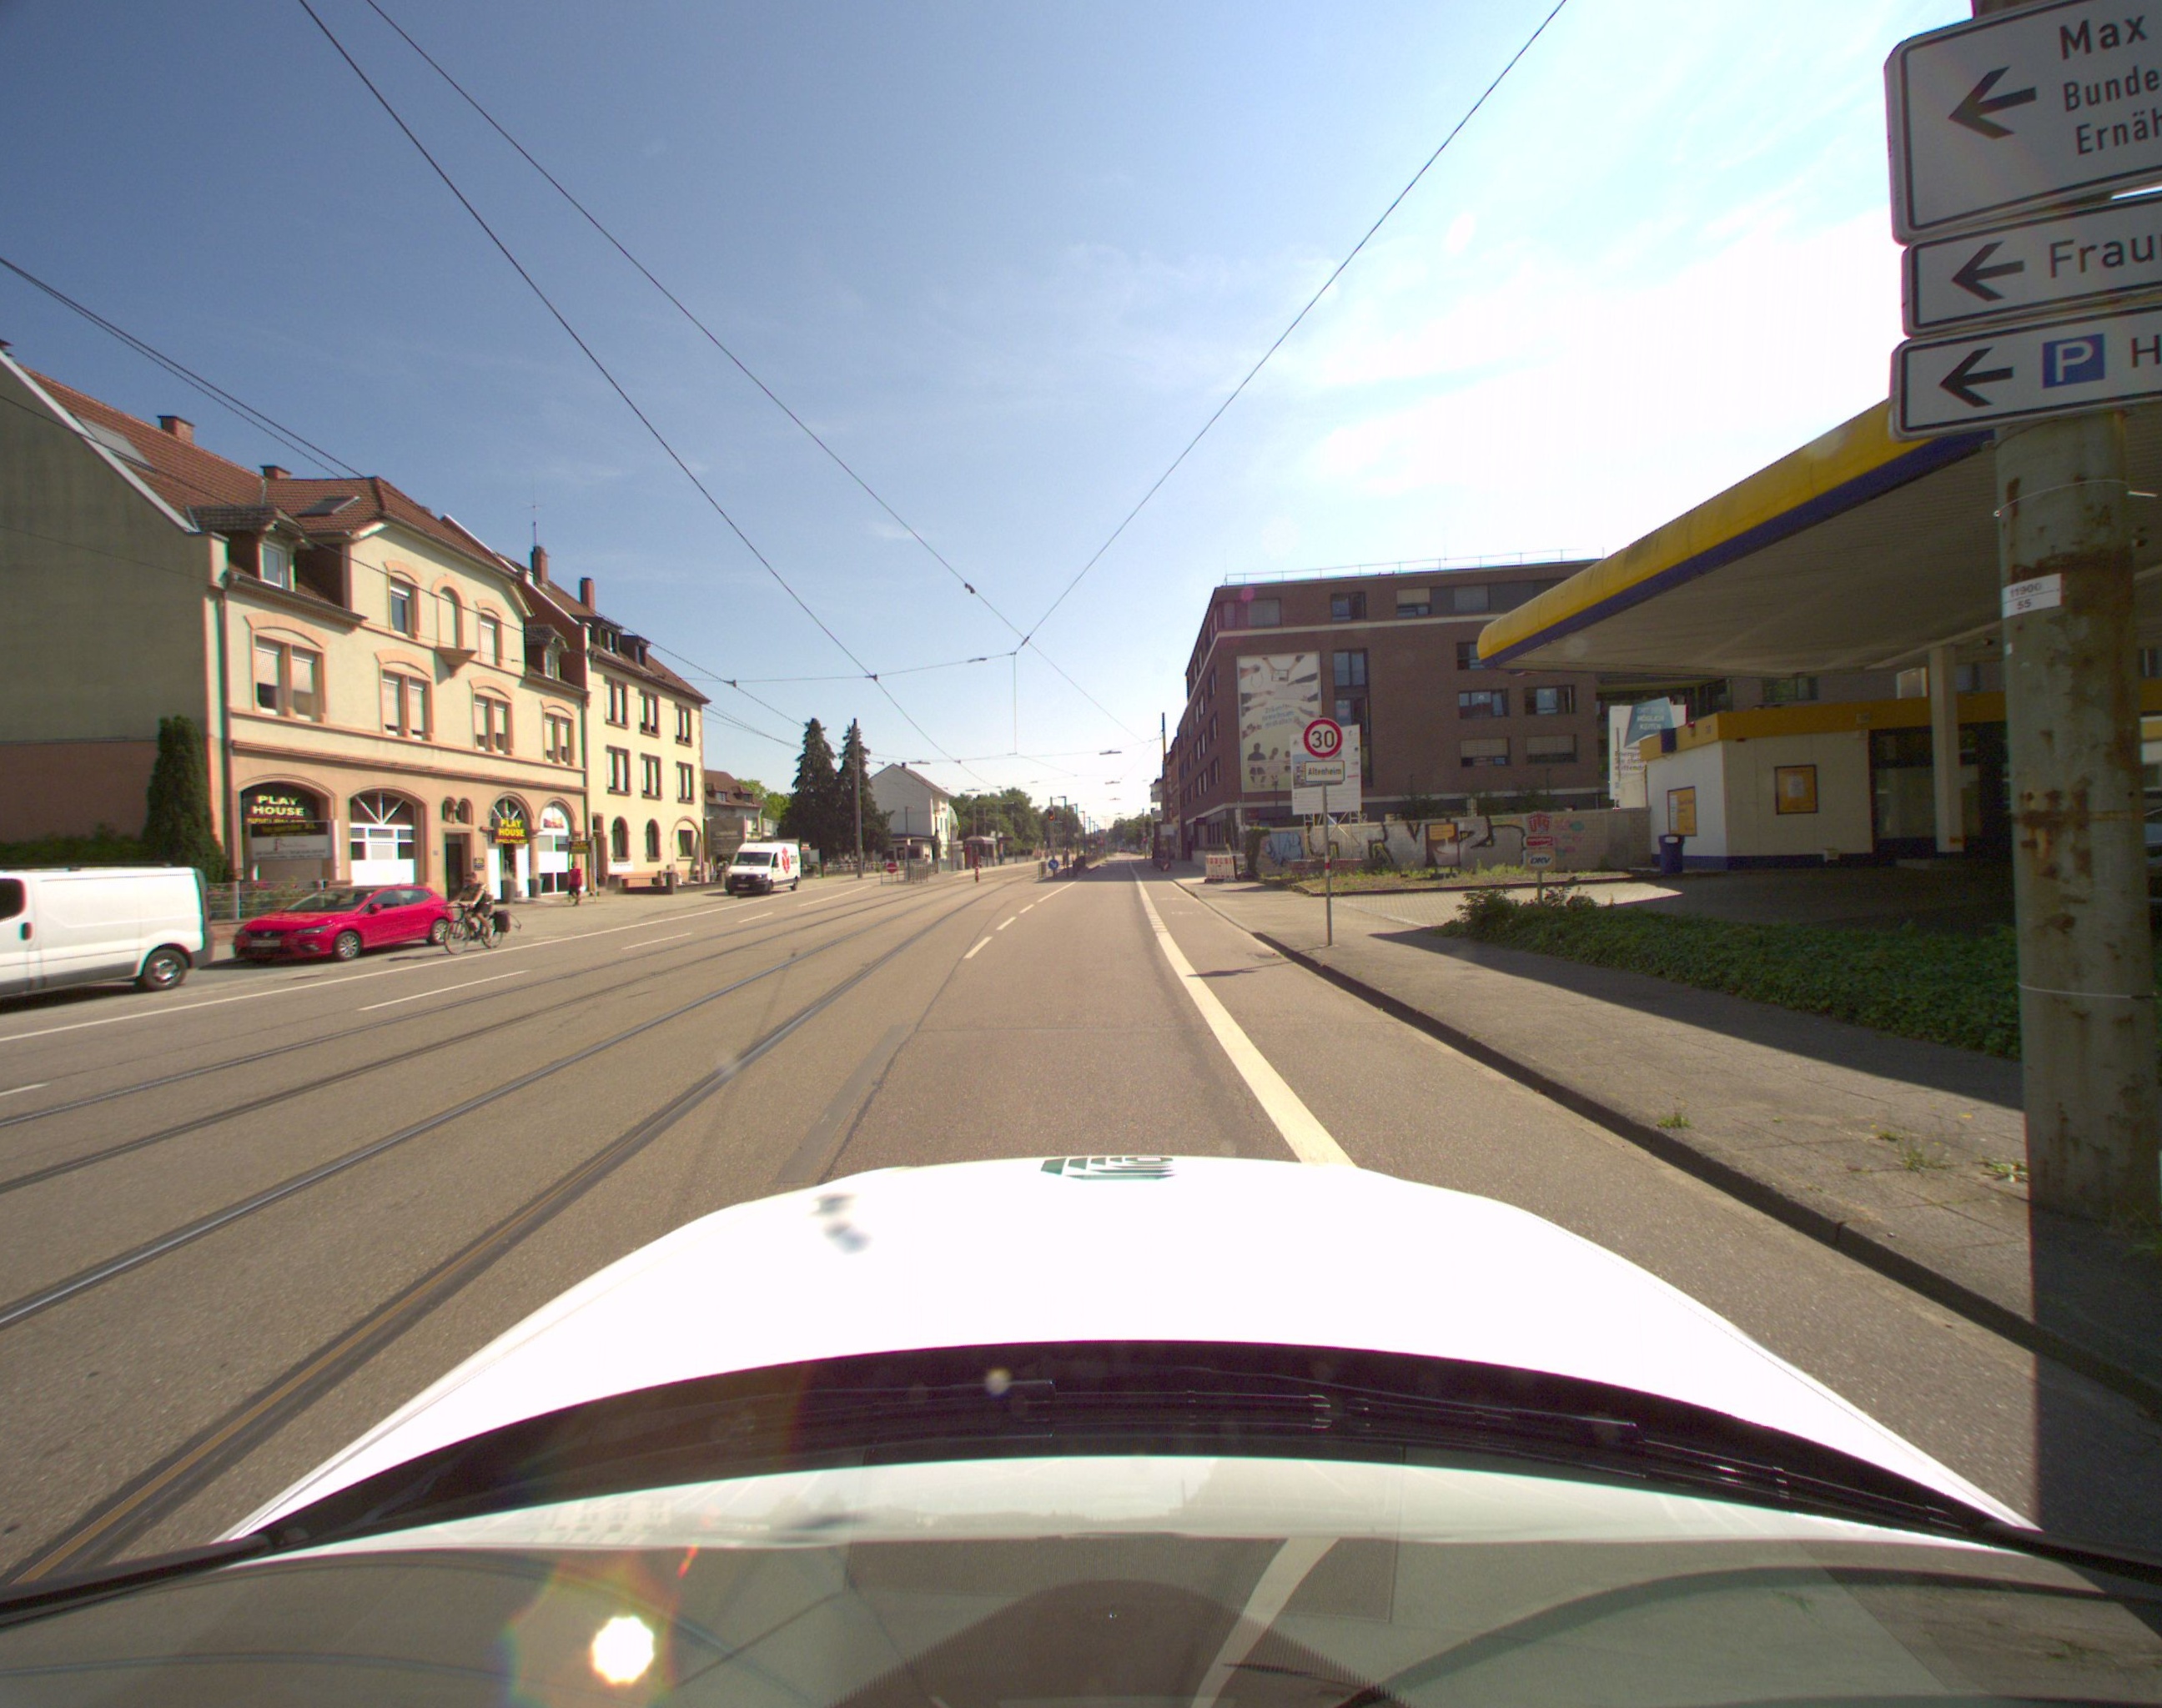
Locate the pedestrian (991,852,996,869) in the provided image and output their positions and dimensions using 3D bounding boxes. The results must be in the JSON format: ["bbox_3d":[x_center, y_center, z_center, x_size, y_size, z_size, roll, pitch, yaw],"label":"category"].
[{"bbox_3d":[-9.272,0.693,85.915,0.415,1.690,0.705,-2,0,-11],"label":"pedestrian"}]

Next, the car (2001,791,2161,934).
[{"bbox_3d":[11.890,0.026,8.003,1.741,1.455,4.431,-6,-2,19],"label":"car"}]

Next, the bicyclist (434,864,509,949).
[{"bbox_3d":[-12.956,1.094,17.343,0.712,1.724,0.990,-3,0,8],"label":"bicyclist"}]

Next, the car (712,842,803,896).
[{"bbox_3d":[-16.234,0.698,41.347,2.324,2.535,6.499,0,0,-3],"label":"car"}]

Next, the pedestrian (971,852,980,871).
[{"bbox_3d":[-9.731,0.707,75.024,0.704,1.690,0.416,-2,0,-5],"label":"pedestrian"}]

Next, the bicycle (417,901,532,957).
[{"bbox_3d":[-12.916,1.572,17.430,0.605,0.984,2.168,-3,0,7],"label":"bicycle"}]

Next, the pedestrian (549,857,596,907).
[{"bbox_3d":[-19.397,1.050,31.088,0.938,1.815,1.132,-2,0,5],"label":"pedestrian"}]

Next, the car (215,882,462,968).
[{"bbox_3d":[-15.531,1.408,17.381,1.717,1.406,3.996,-2,0,-4],"label":"car"}]

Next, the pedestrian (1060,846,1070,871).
[{"bbox_3d":[-1.144,0.309,57.978,0.555,1.760,0.792,-3,0,-3],"label":"pedestrian"}]

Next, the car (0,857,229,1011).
[{"bbox_3d":[-15.285,1.088,11.192,2.079,2.013,4.903,-2,0,-3],"label":"car"}]
